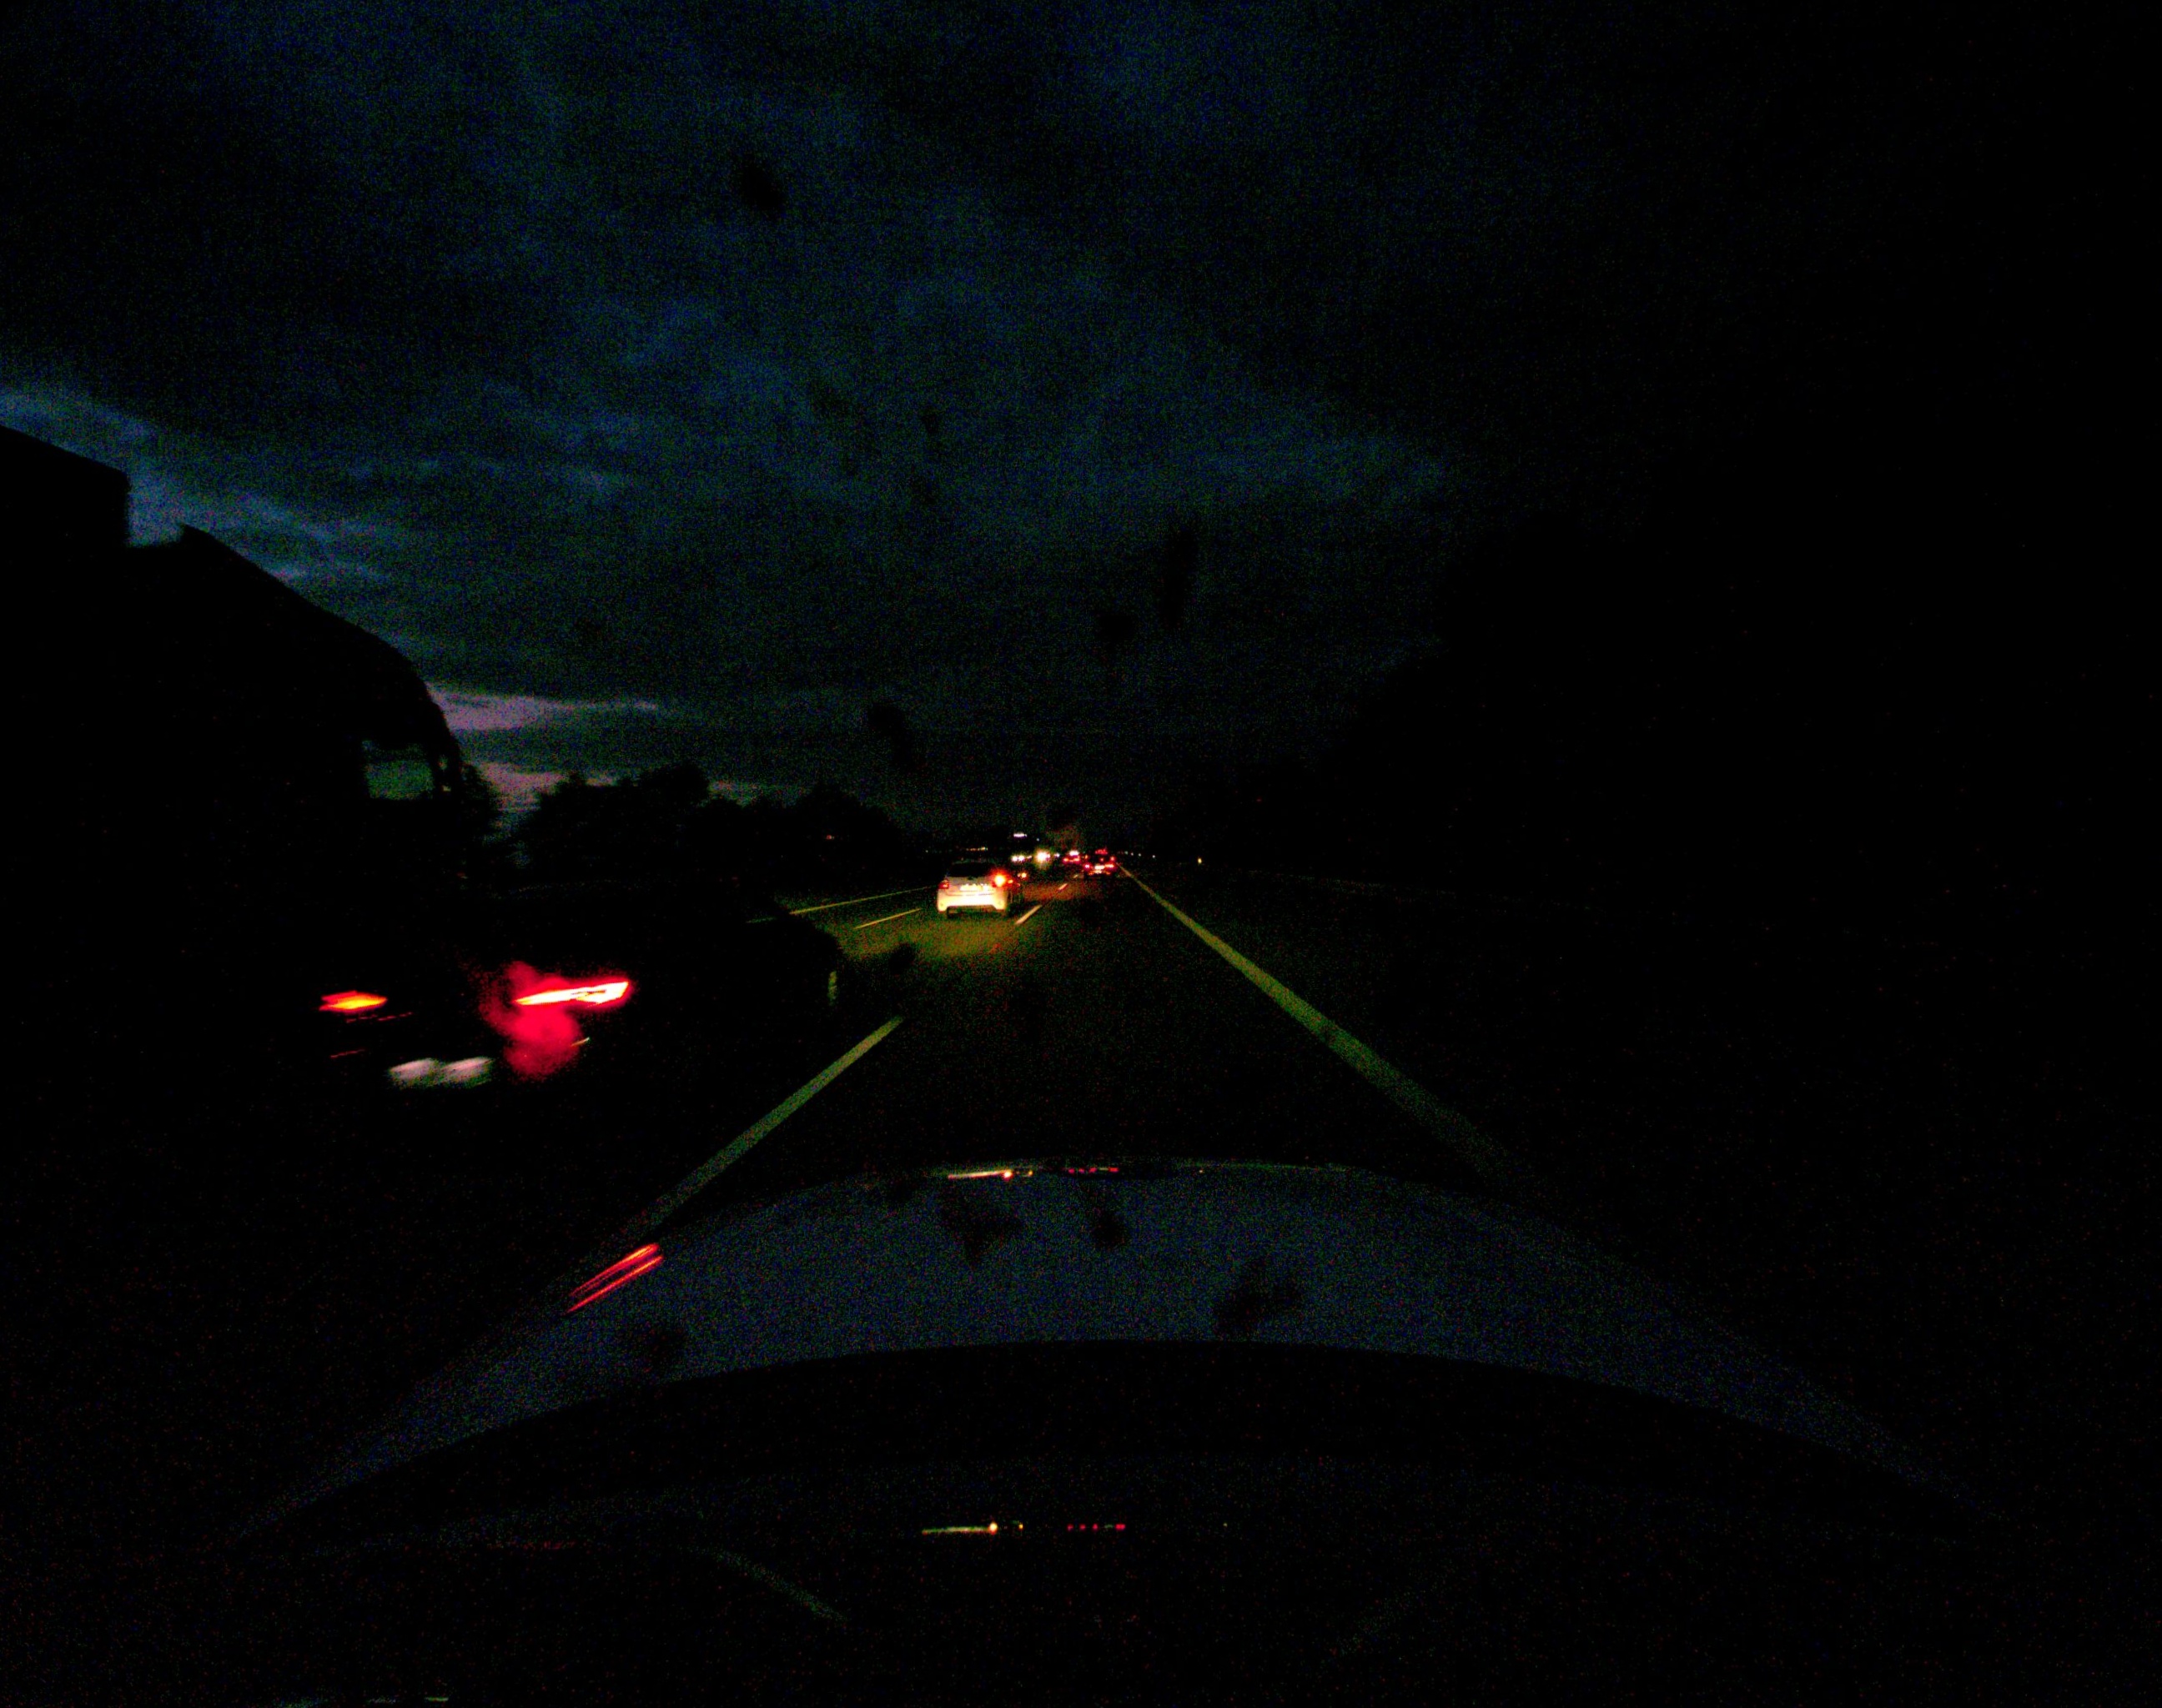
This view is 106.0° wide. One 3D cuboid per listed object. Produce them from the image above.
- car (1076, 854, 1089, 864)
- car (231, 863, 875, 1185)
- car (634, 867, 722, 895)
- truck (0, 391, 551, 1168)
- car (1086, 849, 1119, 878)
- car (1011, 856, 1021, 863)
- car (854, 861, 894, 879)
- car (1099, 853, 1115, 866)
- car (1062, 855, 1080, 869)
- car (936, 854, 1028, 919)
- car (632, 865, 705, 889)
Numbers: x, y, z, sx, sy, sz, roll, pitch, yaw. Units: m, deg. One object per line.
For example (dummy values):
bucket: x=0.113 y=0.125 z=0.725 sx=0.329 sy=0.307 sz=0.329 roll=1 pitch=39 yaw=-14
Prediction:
car: x=0.333 y=0.906 z=149.125 sx=2.191 sy=1.879 sz=4.001 roll=0 pitch=-1 yaw=1
car: x=-3.061 y=0.822 z=6.167 sx=1.717 sy=1.471 sz=4.727 roll=0 pitch=-1 yaw=1
car: x=-18.248 y=1.189 z=37.070 sx=1.924 sy=1.178 sz=4.001 roll=0 pitch=-1 yaw=1
truck: x=-7.021 y=-0.361 z=5.410 sx=2.767 sy=4.093 sz=6.105 roll=-2 pitch=-1 yaw=2
car: x=1.266 y=0.553 z=48.413 sx=1.873 sy=1.643 sz=4.001 roll=0 pitch=-1 yaw=1
car: x=-14.686 y=1.245 z=183.286 sx=1.738 sy=1.362 sz=4.112 roll=0 pitch=-1 yaw=1
car: x=-14.285 y=1.076 z=56.487 sx=1.659 sy=1.178 sz=4.001 roll=0 pitch=-1 yaw=1
car: x=3.177 y=0.693 z=100.463 sx=1.874 sy=1.552 sz=4.000 roll=0 pitch=-1 yaw=1
car: x=-1.131 y=0.894 z=93.491 sx=1.874 sy=1.552 sz=4.000 roll=0 pitch=-1 yaw=1
car: x=-2.499 y=0.790 z=21.487 sx=1.737 sy=1.525 sz=4.416 roll=0 pitch=-1 yaw=2
car: x=-21.483 y=1.187 z=42.599 sx=1.712 sy=1.178 sz=4.001 roll=0 pitch=-1 yaw=1
